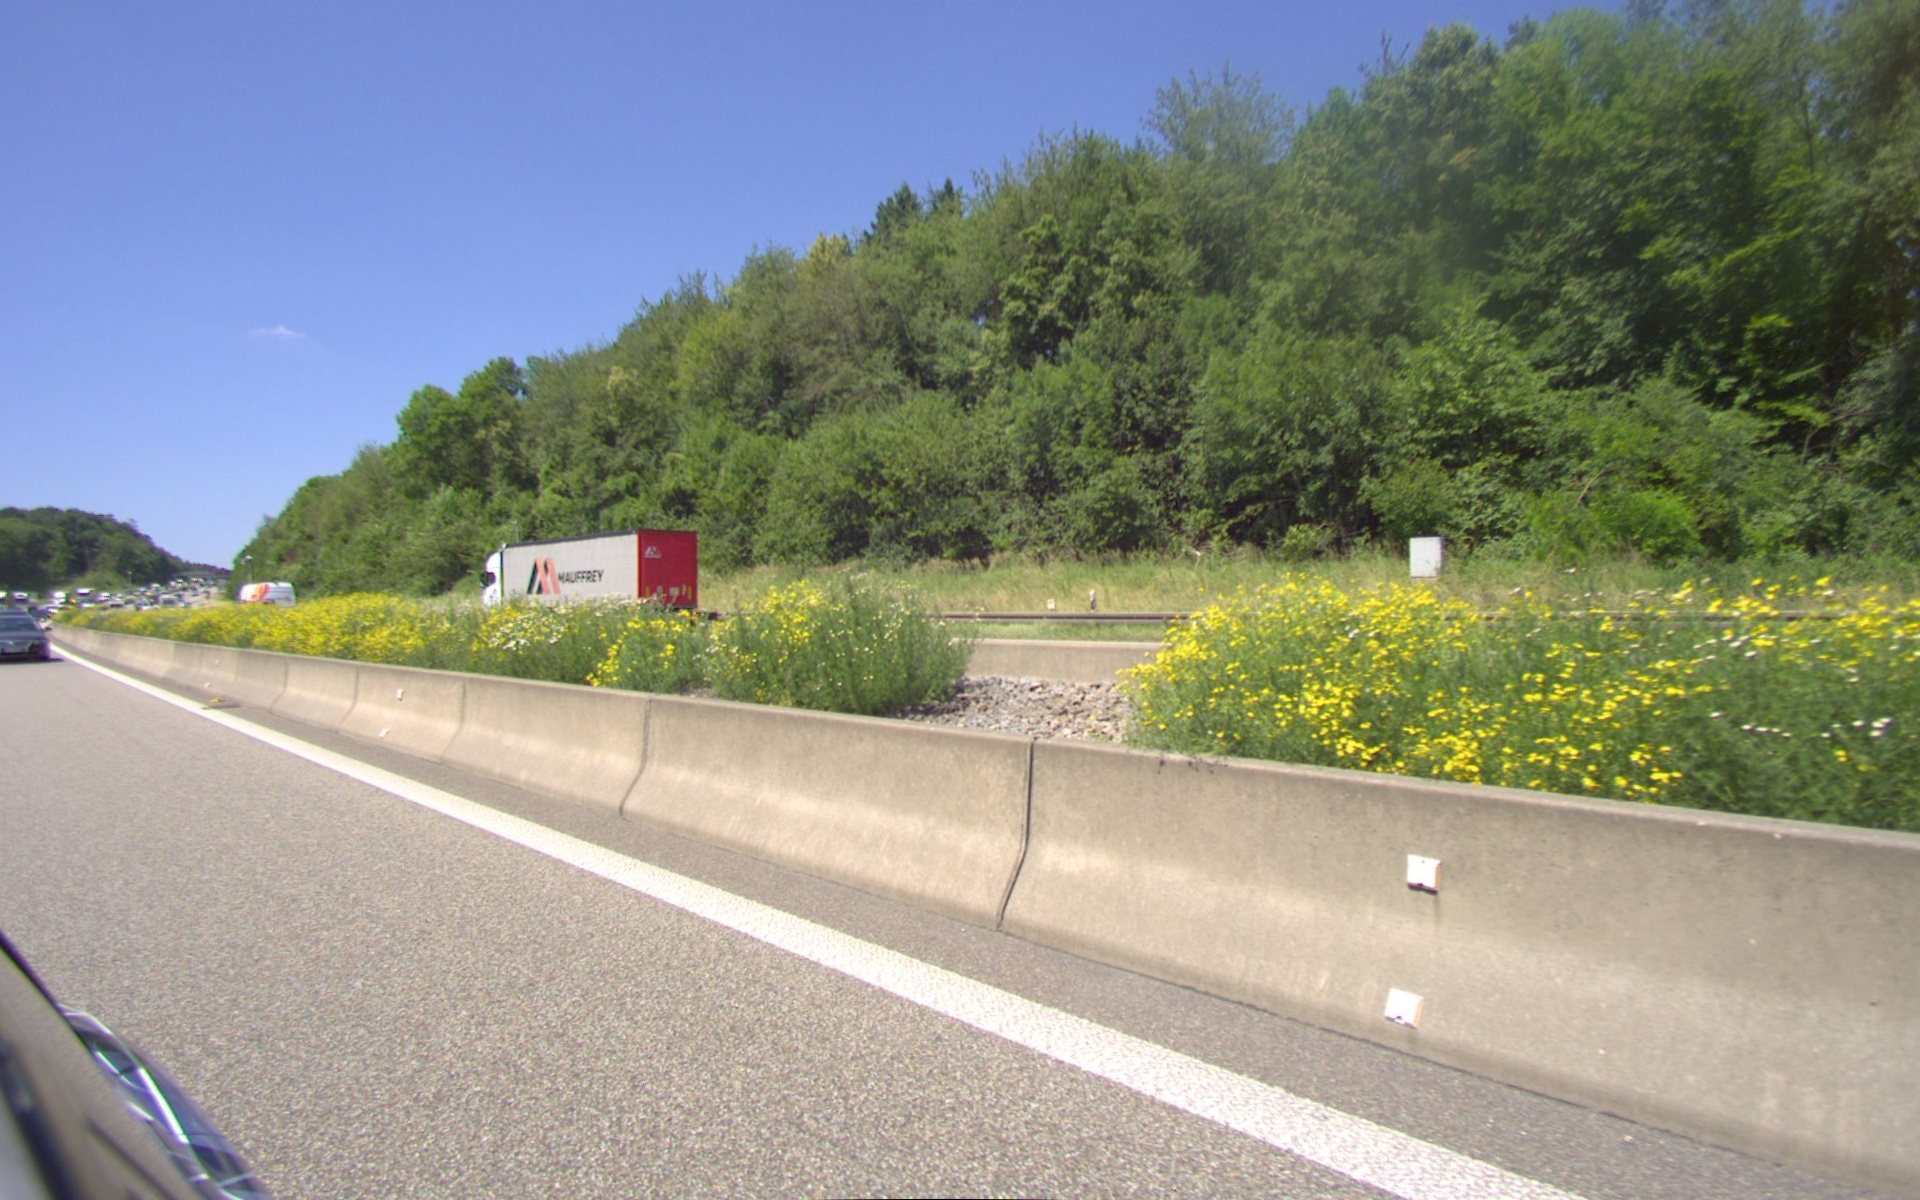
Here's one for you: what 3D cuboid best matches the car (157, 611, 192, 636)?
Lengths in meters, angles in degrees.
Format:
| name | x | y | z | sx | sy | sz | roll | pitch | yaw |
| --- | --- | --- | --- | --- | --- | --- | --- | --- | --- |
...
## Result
| name | x | y | z | sx | sy | sz | roll | pitch | yaw |
| --- | --- | --- | --- | --- | --- | --- | --- | --- | --- |
| car | -68.113 | 1.987 | 87.744 | 4.002 | 2.029 | 1.857 | 0 | 1 | 44 |

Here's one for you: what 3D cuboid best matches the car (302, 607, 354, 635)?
| name | x | y | z | sx | sy | sz | roll | pitch | yaw |
| --- | --- | --- | --- | --- | --- | --- | --- | --- | --- |
| car | -37.964 | 1.225 | 60.775 | 3.928 | 1.586 | 1.667 | -1 | 0 | 43 |

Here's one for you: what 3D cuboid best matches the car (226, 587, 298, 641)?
| name | x | y | z | sx | sy | sz | roll | pitch | yaw |
| --- | --- | --- | --- | --- | --- | --- | --- | --- | --- |
| car | -39.950 | 0.788 | 57.825 | 7.465 | 2.918 | 2.045 | -1 | 0 | 45 |

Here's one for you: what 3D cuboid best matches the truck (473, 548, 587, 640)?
| name | x | y | z | sx | sy | sz | roll | pitch | yaw |
| --- | --- | --- | --- | --- | --- | --- | --- | --- | --- |
| truck | -20.744 | -0.286 | 48.665 | 6.091 | 4.137 | 2.930 | 0 | 1 | 45 |

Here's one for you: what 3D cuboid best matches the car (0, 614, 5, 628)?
| name | x | y | z | sx | sy | sz | roll | pitch | yaw |
| --- | --- | --- | --- | --- | --- | --- | --- | --- | --- |
| car | -126.543 | 2.738 | 132.402 | 1.968 | 1.751 | 4.008 | -1 | 1 | -38 |

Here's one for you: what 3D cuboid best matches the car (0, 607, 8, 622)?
| name | x | y | z | sx | sy | sz | roll | pitch | yaw |
| --- | --- | --- | --- | --- | --- | --- | --- | --- | --- |
| car | -160.804 | 2.401 | 168.542 | 2.657 | 2.500 | 6.598 | -1 | 1 | -38 |

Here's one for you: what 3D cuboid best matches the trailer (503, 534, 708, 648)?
| name | x | y | z | sx | sy | sz | roll | pitch | yaw |
| --- | --- | --- | --- | --- | --- | --- | --- | --- | --- |
| trailer | -15.609 | -0.406 | 43.554 | 13.071 | 4.263 | 2.893 | 0 | 1 | 45 |

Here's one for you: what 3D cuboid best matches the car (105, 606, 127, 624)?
| name | x | y | z | sx | sy | sz | roll | pitch | yaw |
| --- | --- | --- | --- | --- | --- | --- | --- | --- | --- |
| car | -137.107 | 2.443 | 164.375 | 2.175 | 2.762 | 5.751 | -1 | 0 | -44 |

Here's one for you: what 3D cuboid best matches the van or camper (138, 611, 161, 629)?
| name | x | y | z | sx | sy | sz | roll | pitch | yaw |
| --- | --- | --- | --- | --- | --- | --- | --- | --- | --- |
| van or camper | -93.723 | 2.334 | 116.982 | 1.672 | 2.028 | 4.216 | -1 | 0 | -44 |

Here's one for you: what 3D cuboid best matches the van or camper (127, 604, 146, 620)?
| name | x | y | z | sx | sy | sz | roll | pitch | yaw |
| --- | --- | --- | --- | --- | --- | --- | --- | --- | --- |
| van or camper | -148.800 | 2.152 | 182.804 | 2.231 | 2.921 | 6.563 | 0 | -1 | -43 |

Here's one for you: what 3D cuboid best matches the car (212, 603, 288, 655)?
| name | x | y | z | sx | sy | sz | roll | pitch | yaw |
| --- | --- | --- | --- | --- | --- | --- | --- | --- | --- |
| car | -29.845 | 1.151 | 42.485 | 1.971 | 2.029 | 4.003 | -1 | 1 | -45 |

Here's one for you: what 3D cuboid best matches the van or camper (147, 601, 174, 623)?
| name | x | y | z | sx | sy | sz | roll | pitch | yaw |
| --- | --- | --- | --- | --- | --- | --- | --- | --- | --- |
| van or camper | -127.191 | 1.862 | 160.919 | 2.510 | 3.342 | 9.010 | -1 | 1 | -44 |

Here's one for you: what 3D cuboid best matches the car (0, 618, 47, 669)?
| name | x | y | z | sx | sy | sz | roll | pitch | yaw |
| --- | --- | --- | --- | --- | --- | --- | --- | --- | --- |
| car | -29.565 | 1.319 | 31.374 | 1.696 | 1.490 | 4.002 | -1 | 0 | -45 |

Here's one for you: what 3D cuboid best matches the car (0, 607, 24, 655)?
| name | x | y | z | sx | sy | sz | roll | pitch | yaw |
| --- | --- | --- | --- | --- | --- | --- | --- | --- | --- |
| car | -43.682 | 1.386 | 45.666 | 1.971 | 2.029 | 4.003 | -1 | 1 | -45 |
